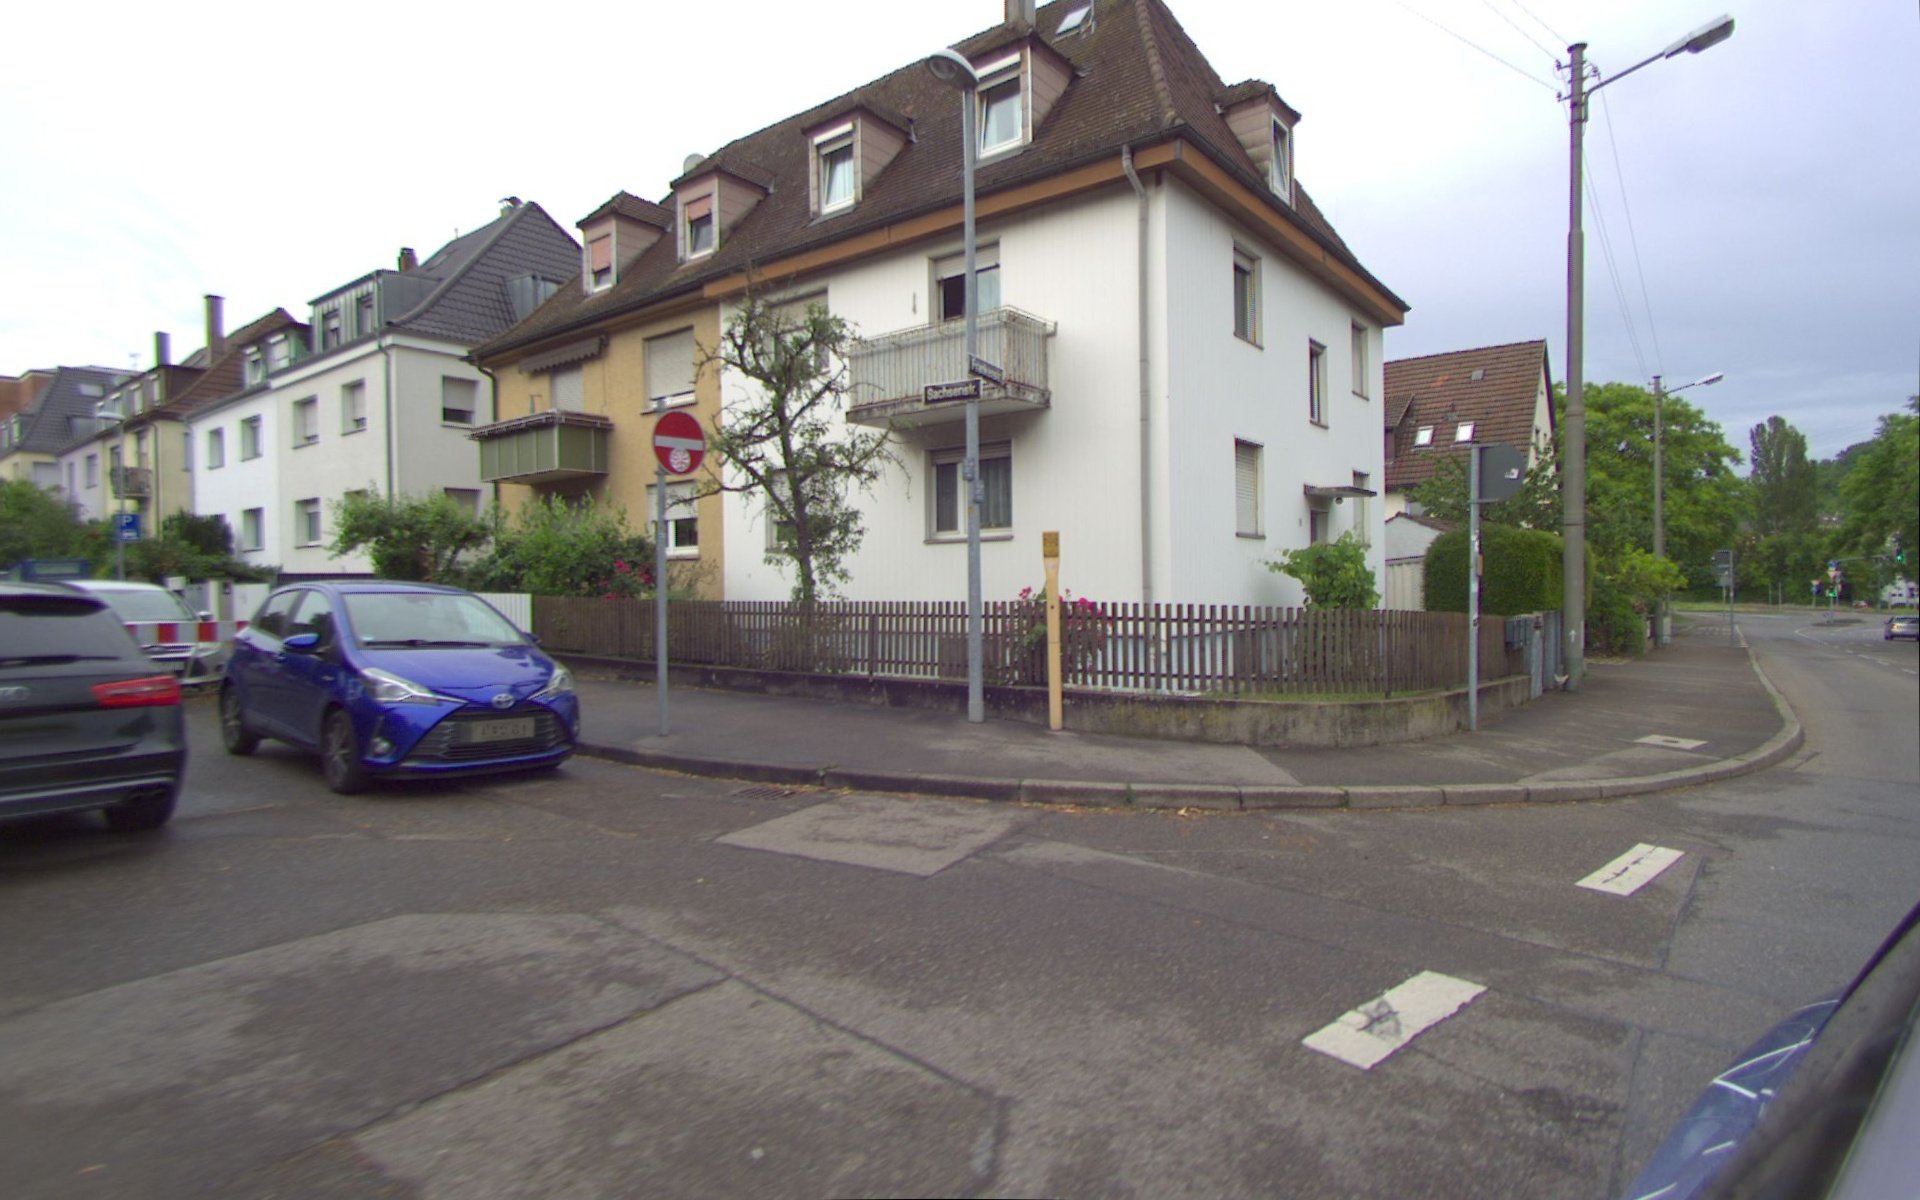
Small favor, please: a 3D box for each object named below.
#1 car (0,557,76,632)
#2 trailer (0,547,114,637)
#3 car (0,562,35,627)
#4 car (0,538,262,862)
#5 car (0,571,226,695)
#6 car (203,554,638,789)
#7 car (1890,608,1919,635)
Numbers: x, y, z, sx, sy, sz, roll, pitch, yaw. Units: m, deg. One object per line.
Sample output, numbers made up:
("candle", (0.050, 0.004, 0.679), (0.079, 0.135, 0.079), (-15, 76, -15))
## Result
("car", (-25.439, -0.168, 26.876), (4.551, 1.862, 1.974), (1, 0, 36))
("trailer", (-22.154, -0.204, 24.549), (3.468, 2.039, 1.651), (1, 0, 35))
("car", (-29.569, -0.195, 30.250), (4.551, 1.862, 1.974), (1, 0, 36))
("car", (-6.354, 0.404, 6.135), (4.785, 1.499, 1.863), (2, 0, 34))
("car", (-11.745, 0.385, 13.880), (3.765, 1.472, 1.747), (1, -1, 38))
("car", (-4.669, 0.418, 8.505), (4.109, 1.499, 1.858), (2, 0, 41))
("car", (56.378, 1.257, 59.781), (1.664, 1.487, 3.731), (1, 0, 35))
